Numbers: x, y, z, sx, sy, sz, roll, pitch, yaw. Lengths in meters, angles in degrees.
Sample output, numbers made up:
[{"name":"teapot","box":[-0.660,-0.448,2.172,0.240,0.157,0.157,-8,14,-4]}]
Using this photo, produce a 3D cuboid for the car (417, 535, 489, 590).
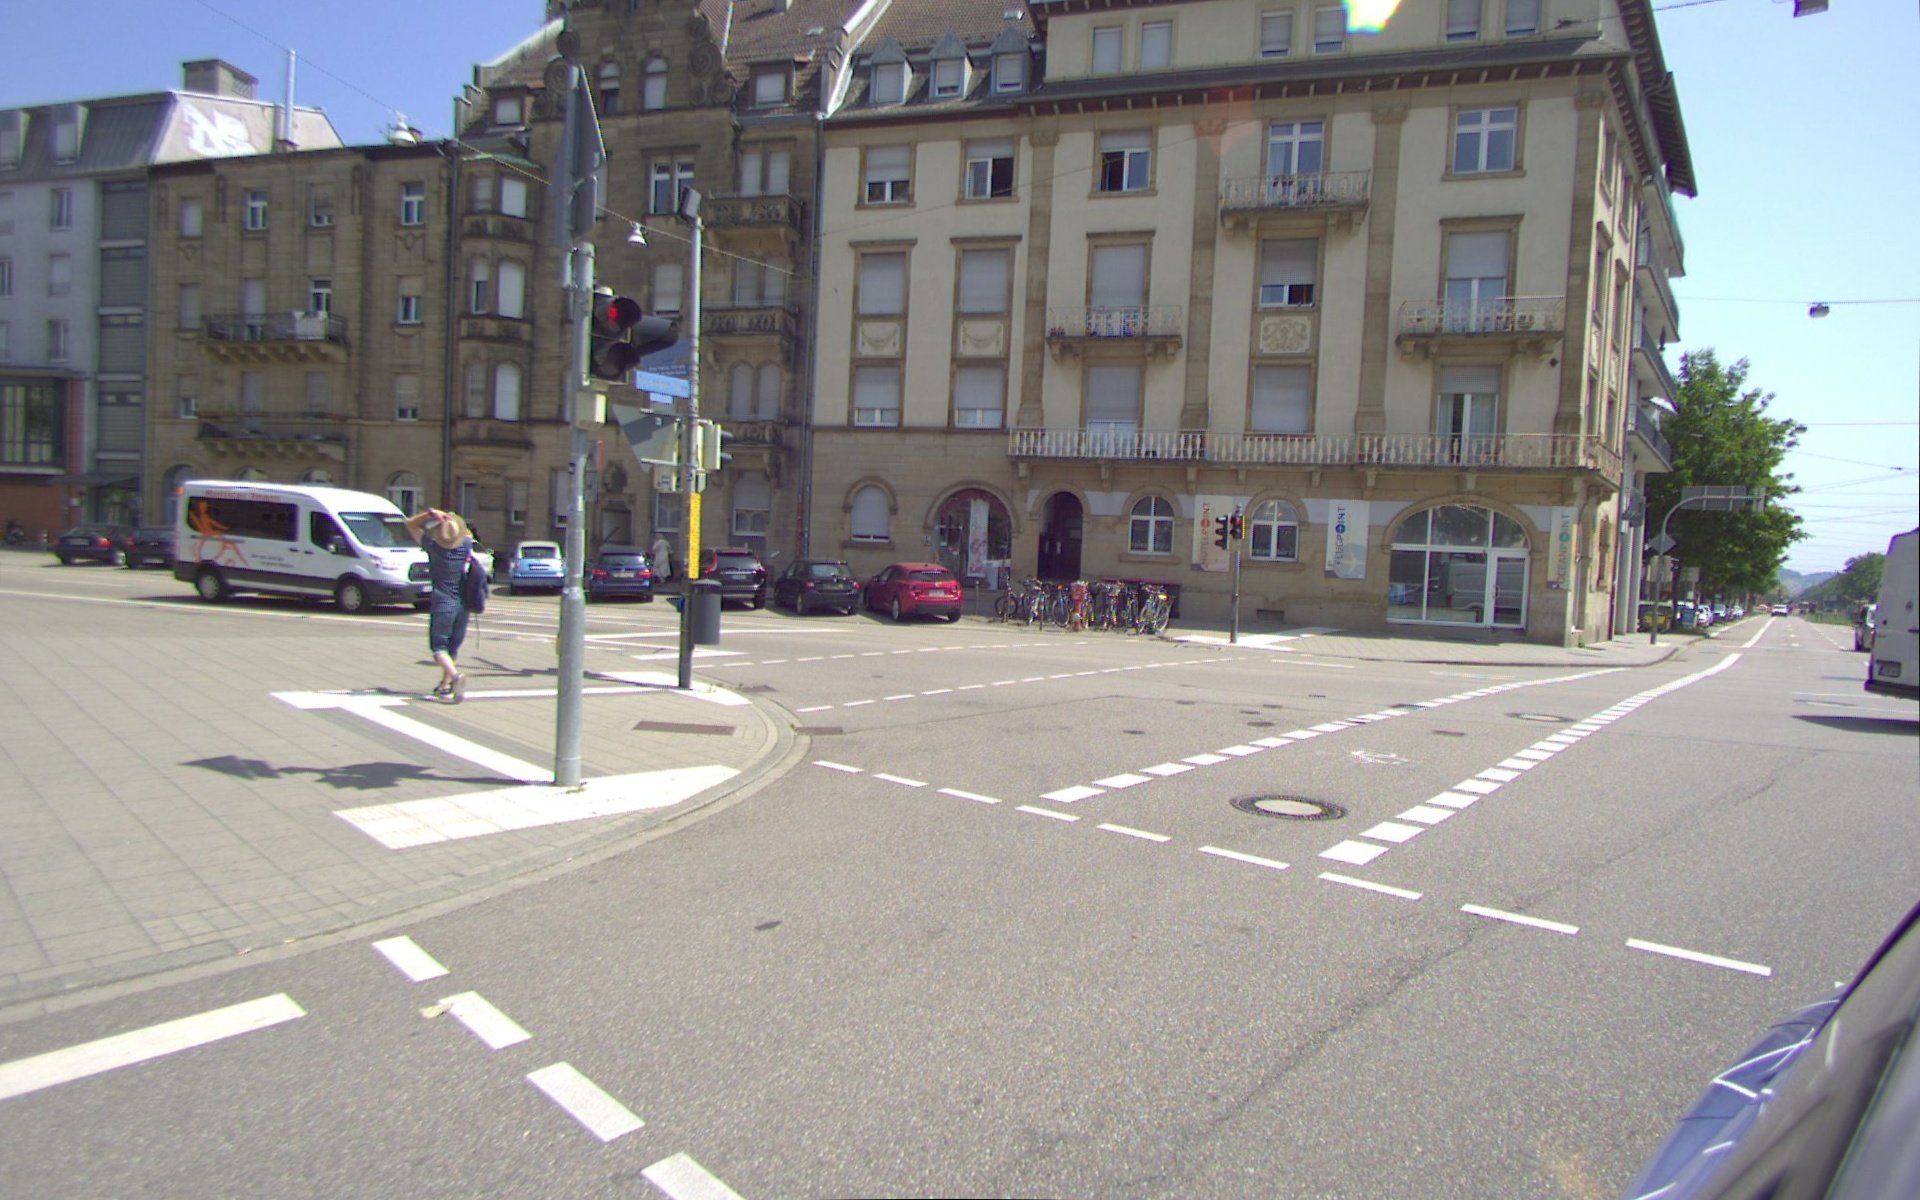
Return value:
[{"name":"car","box":[-15.790,-1.212,31.623,1.583,1.593,3.236,0,4,-19]}]

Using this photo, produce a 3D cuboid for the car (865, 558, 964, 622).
[{"name":"car","box":[-1.274,-0.334,27.099,1.583,1.496,3.235,-1,4,-23]}]

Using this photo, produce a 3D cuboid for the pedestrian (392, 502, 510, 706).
[{"name":"pedestrian","box":[-4.901,0.021,9.734,0.819,1.845,0.743,1,2,-42]}]

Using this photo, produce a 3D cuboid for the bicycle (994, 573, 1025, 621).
[{"name":"bicycle","box":[1.319,-0.104,26.814,0.556,1.165,1.800,2,3,10]}]

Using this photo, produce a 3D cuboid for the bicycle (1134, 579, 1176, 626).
[{"name":"bicycle","box":[5.229,0.037,27.051,0.560,1.165,1.787,3,3,29]}]

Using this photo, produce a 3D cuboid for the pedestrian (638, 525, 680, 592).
[{"name":"pedestrian","box":[-9.890,-1.362,33.271,0.852,2.139,1.099,1,2,-43]}]

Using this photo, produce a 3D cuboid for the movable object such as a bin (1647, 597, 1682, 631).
[{"name":"movable object such as a bin","box":[31.852,0.600,45.734,1.209,1.454,0.994,3,2,38]}]

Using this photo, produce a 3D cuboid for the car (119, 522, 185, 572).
[{"name":"car","box":[-27.676,-1.853,34.717,1.468,1.593,3.229,-2,5,-34]}]

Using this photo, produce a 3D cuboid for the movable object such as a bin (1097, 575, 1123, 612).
[{"name":"movable object such as a bin","box":[4.476,-0.197,30.198,0.584,1.077,0.665,2,1,24]}]

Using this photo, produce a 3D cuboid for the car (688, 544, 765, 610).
[{"name":"car","box":[-6.666,-0.709,28.708,1.583,1.685,3.235,-1,4,-23]}]

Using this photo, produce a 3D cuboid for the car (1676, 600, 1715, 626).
[{"name":"car","box":[47.974,0.826,65.985,1.989,1.550,3.947,3,2,37]}]

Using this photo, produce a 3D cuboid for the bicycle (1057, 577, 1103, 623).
[{"name":"bicycle","box":[3.241,-0.025,27.142,0.560,1.165,1.787,3,3,29]}]

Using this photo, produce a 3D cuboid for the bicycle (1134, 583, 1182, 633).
[{"name":"bicycle","box":[4.997,0.178,25.437,0.560,1.165,2.039,3,3,29]}]

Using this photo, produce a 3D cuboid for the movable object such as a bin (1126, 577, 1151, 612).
[{"name":"movable object such as a bin","box":[5.270,-0.161,29.902,0.584,1.007,0.578,2,1,24]}]

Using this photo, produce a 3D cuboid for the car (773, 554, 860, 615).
[{"name":"car","box":[-4.029,-0.472,28.057,1.583,1.496,3.235,-1,4,-23]}]

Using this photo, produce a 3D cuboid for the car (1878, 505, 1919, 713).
[{"name":"car","box":[15.404,0.299,11.797,6.544,2.669,2.066,3,2,17]}]

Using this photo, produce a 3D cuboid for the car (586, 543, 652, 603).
[{"name":"car","box":[-10.078,-0.837,29.786,1.583,1.593,3.235,-1,4,-23]}]

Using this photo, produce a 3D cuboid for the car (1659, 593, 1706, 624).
[{"name":"car","box":[40.120,0.425,56.173,1.989,1.550,3.947,3,2,37]}]

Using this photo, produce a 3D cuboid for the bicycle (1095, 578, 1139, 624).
[{"name":"bicycle","box":[4.240,0.004,27.218,0.560,1.165,1.787,3,3,29]}]

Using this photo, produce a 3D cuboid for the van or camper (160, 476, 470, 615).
[{"name":"van or camper","box":[-13.375,-1.154,21.024,5.820,2.491,2.064,3,2,16]}]

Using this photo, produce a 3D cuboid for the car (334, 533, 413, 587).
[{"name":"car","box":[-18.720,-1.309,32.446,1.583,1.593,3.236,0,4,-19]}]

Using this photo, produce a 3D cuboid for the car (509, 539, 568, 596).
[{"name":"car","box":[-12.965,-1.048,31.115,1.583,1.593,3.235,-1,4,-23]}]

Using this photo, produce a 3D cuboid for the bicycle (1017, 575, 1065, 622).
[{"name":"bicycle","box":[2.159,-0.050,26.822,0.560,1.165,1.787,3,3,29]}]

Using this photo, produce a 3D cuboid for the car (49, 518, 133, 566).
[{"name":"car","box":[-30.260,-2.044,35.333,1.584,1.593,3.232,-1,4,-29]}]
